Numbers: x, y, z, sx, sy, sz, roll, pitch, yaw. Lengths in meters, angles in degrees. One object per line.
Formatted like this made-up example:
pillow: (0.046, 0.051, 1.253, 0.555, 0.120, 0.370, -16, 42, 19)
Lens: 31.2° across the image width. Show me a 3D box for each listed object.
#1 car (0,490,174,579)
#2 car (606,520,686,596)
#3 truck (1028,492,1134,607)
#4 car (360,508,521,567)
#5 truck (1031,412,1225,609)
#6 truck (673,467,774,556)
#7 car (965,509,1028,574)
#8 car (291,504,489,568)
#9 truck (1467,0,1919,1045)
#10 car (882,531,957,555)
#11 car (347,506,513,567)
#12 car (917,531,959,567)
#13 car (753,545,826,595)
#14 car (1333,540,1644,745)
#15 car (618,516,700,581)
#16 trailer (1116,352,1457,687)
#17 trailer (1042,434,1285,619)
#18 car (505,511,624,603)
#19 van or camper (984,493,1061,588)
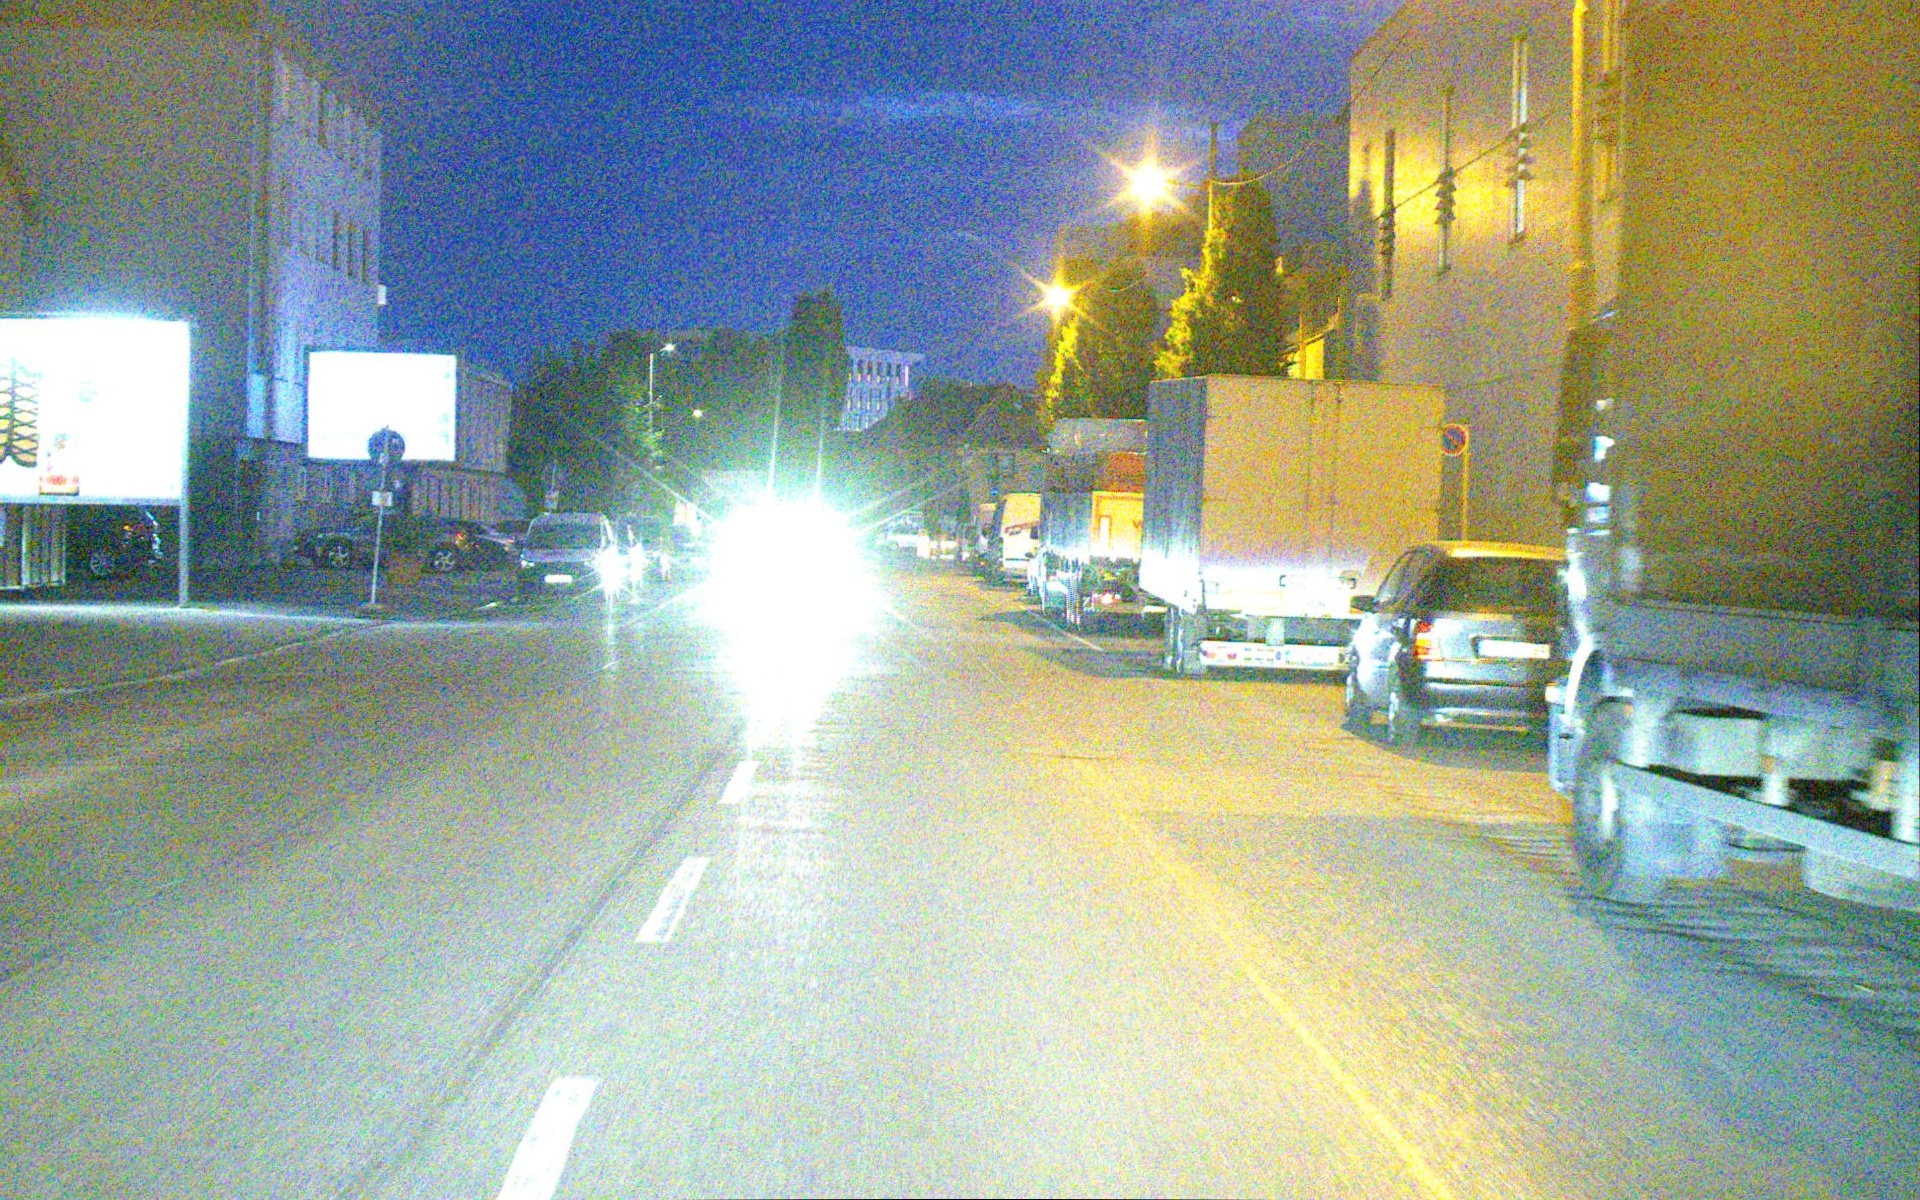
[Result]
car: (-17.555, -1.297, 67.198, 3.986, 1.645, 2.000, 1, 1, -3)
car: (-7.425, -1.019, 81.522, 1.678, 1.730, 4.356, 1, 1, -3)
truck: (2.627, -1.128, 75.787, 1.993, 2.399, 5.293, 1, 1, -1)
car: (-14.364, -1.727, 95.023, 3.986, 1.589, 2.000, 0, 1, -27)
truck: (3.012, -1.609, 63.612, 3.151, 3.451, 6.673, 0, 1, -1)
truck: (-10.200, -3.770, 147.319, 3.889, 3.609, 8.262, 1, 1, -6)
car: (1.241, -2.016, 117.906, 1.993, 2.138, 4.000, 1, 1, -1)
car: (-14.361, -1.620, 86.582, 4.612, 1.480, 2.001, 1, 1, -20)
truck: (4.430, -0.740, 11.735, 3.520, 3.969, 10.343, 0, 1, -2)
car: (-2.499, -3.539, 212.764, 4.531, 1.375, 2.000, 2, 1, 3)
car: (-14.196, -1.692, 92.066, 3.986, 1.589, 2.000, 0, 1, -27)
car: (-1.085, -2.495, 168.252, 1.993, 1.678, 4.000, 1, 1, -1)
car: (-4.986, -0.899, 101.010, 1.993, 1.393, 4.000, 1, 1, -1)
car: (4.117, 0.292, 27.345, 1.852, 1.514, 3.818, 0, 1, 0)
car: (-8.374, -1.442, 95.931, 1.897, 1.730, 4.356, 1, 1, 0)
trailer: (3.626, -0.902, 40.156, 2.686, 3.452, 7.810, 2, 1, -3)
trailer: (3.151, -1.159, 56.476, 3.184, 2.739, 10.716, 0, 1, -1)
car: (-8.046, -0.901, 70.229, 1.993, 1.787, 4.000, 1, 1, -1)
van or camper: (1.743, -1.690, 97.466, 1.993, 2.573, 4.915, 1, 1, 0)
